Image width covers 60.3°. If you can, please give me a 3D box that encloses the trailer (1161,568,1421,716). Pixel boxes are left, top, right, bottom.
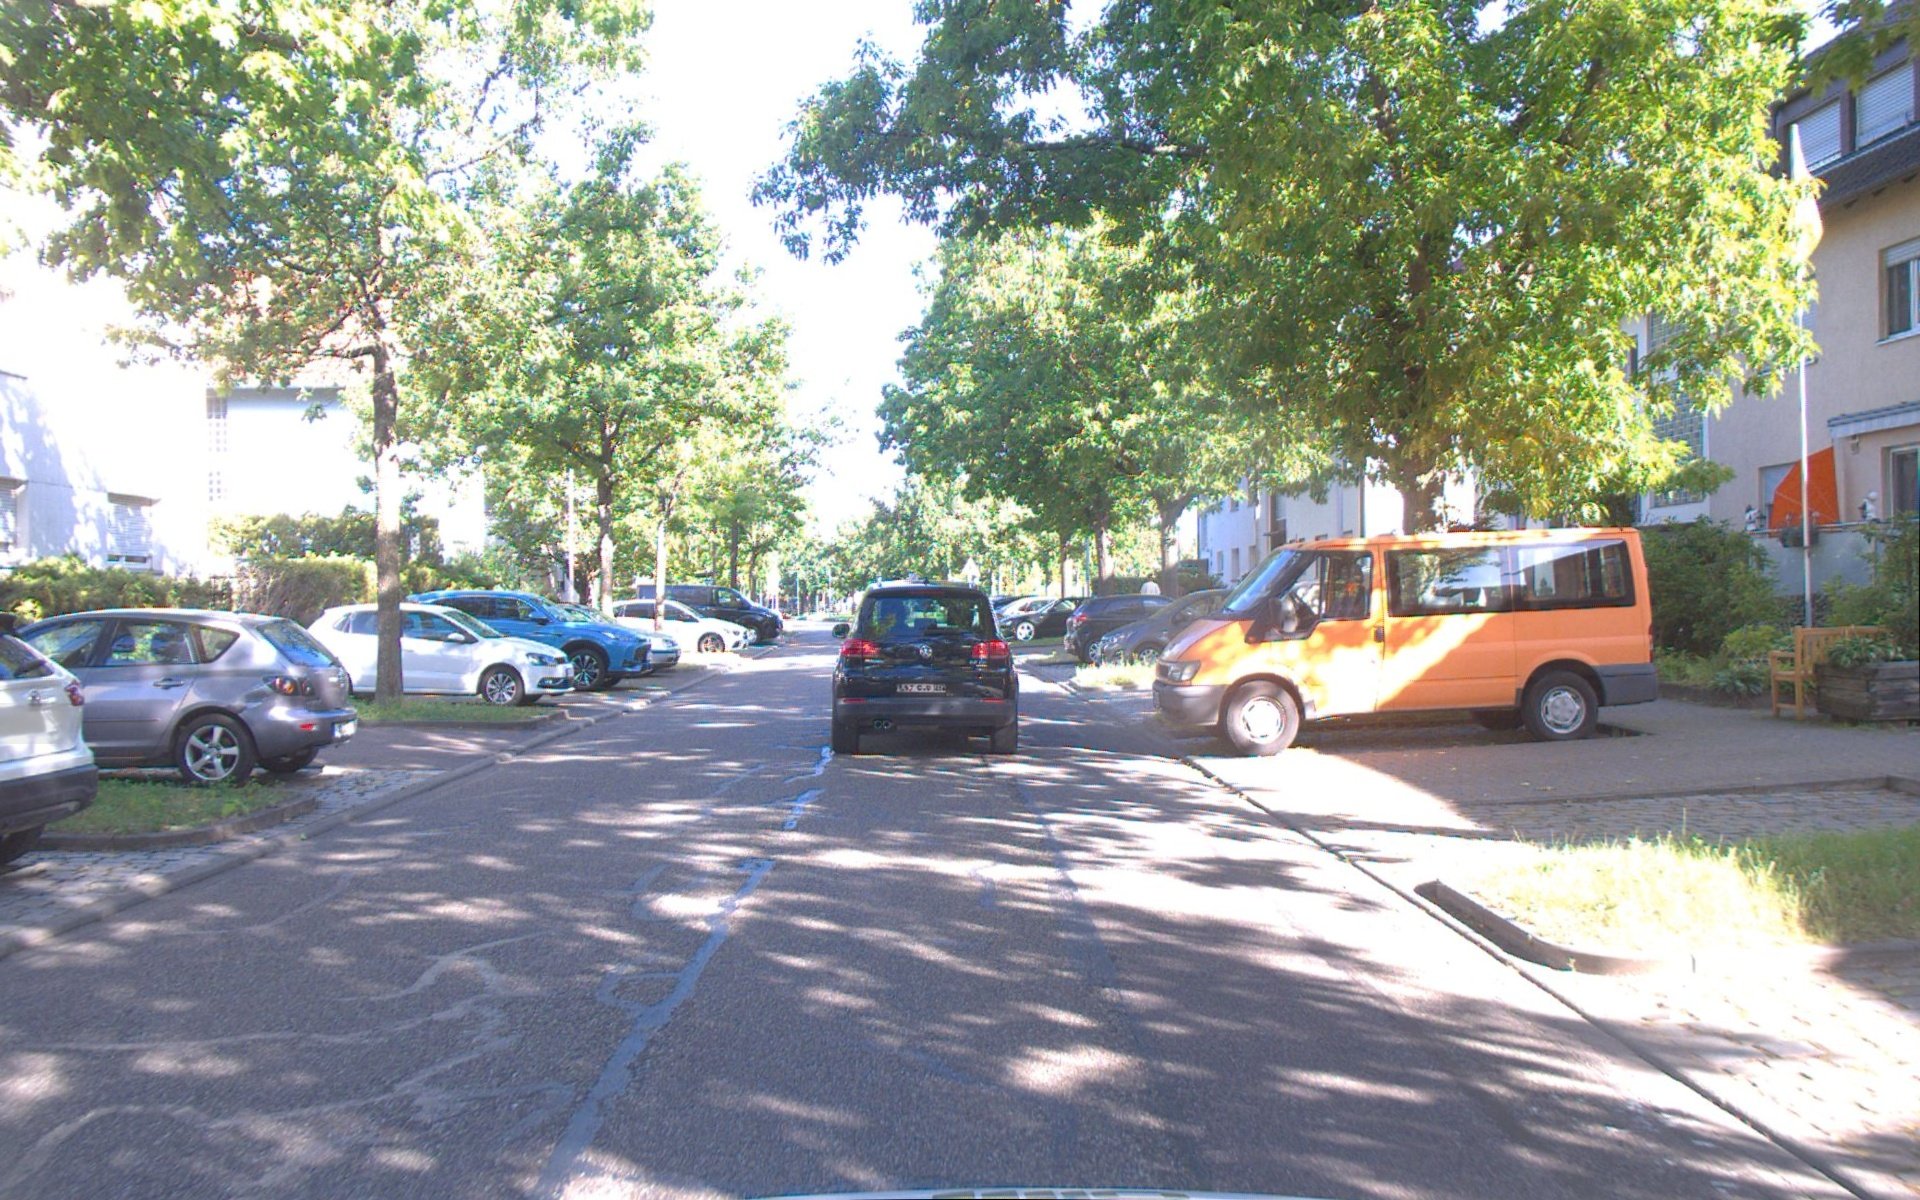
[{"bbox_3d":[4.240,0.532,21.434,2.890,1.693,1.612,-3,-1,-7],"label":"trailer"}]

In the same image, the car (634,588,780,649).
[{"bbox_3d":[-8.482,0.609,55.860,4.684,1.950,2.017,-1,0,-4],"label":"car"}]

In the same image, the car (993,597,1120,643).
[{"bbox_3d":[3.308,0.679,57.269,4.190,1.439,1.796,-2,0,-2],"label":"car"}]

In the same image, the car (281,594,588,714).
[{"bbox_3d":[-7.639,0.774,24.314,3.906,1.623,1.857,-1,-1,-1],"label":"car"}]

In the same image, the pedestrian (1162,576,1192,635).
[{"bbox_3d":[6.923,0.182,52.695,0.818,1.860,0.710,-1,-1,-1],"label":"pedestrian"}]

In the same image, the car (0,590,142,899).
[{"bbox_3d":[-7.000,0.721,9.067,4.101,1.594,1.792,1,0,0],"label":"car"}]

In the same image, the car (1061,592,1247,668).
[{"bbox_3d":[4.168,0.645,35.868,3.803,1.542,1.660,-1,-1,-1],"label":"car"}]

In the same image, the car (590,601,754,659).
[{"bbox_3d":[-7.855,0.800,45.365,4.189,1.504,1.768,-1,0,-2],"label":"car"}]

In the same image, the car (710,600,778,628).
[{"bbox_3d":[-13.592,0.874,104.330,4.161,1.651,1.894,-1,-1,-7],"label":"car"}]

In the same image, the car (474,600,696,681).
[{"bbox_3d":[-7.547,0.820,33.525,4.097,1.518,1.646,-1,-1,-1],"label":"car"}]

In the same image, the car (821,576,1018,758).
[{"bbox_3d":[-0.347,0.620,17.121,1.800,1.665,3.958,0,0,1],"label":"car"}]

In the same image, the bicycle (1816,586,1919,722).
[{"bbox_3d":[9.835,0.466,16.009,2.800,1.259,0.468,-3,-1,-1],"label":"bicycle"}]

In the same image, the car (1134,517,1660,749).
[{"bbox_3d":[4.236,0.307,16.630,4.721,2.120,2.086,-1,0,-1],"label":"car"}]

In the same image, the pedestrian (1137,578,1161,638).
[{"bbox_3d":[6.014,0.263,52.682,0.595,1.906,0.923,-1,-1,0],"label":"pedestrian"}]

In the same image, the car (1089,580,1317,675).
[{"bbox_3d":[4.497,0.512,30.956,3.908,1.652,1.756,-1,-1,-4],"label":"car"}]

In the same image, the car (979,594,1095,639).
[{"bbox_3d":[2.858,0.605,62.217,4.190,1.529,1.796,-2,0,-2],"label":"car"}]

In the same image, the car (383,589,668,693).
[{"bbox_3d":[-7.462,0.700,28.749,4.432,1.660,1.937,-1,-1,-1],"label":"car"}]

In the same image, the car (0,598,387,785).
[{"bbox_3d":[-7.279,0.744,14.369,3.953,1.448,1.809,1,0,-3],"label":"car"}]

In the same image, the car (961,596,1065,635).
[{"bbox_3d":[2.257,0.660,70.898,4.339,1.517,1.796,-2,0,-2],"label":"car"}]

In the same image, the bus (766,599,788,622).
[{"bbox_3d":[-25.665,1.488,232.094,2.872,3.056,5.729,-1,-1,-6],"label":"bus"}]

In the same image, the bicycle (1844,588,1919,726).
[{"bbox_3d":[9.835,0.485,15.522,2.800,1.259,0.468,-2,-1,-1],"label":"bicycle"}]

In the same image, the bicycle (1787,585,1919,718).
[{"bbox_3d":[9.784,0.472,16.505,2.800,1.259,0.468,-2,0,-1],"label":"bicycle"}]

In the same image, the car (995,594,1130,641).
[{"bbox_3d":[3.336,0.579,54.417,4.259,1.387,1.872,-2,-1,-3],"label":"car"}]
